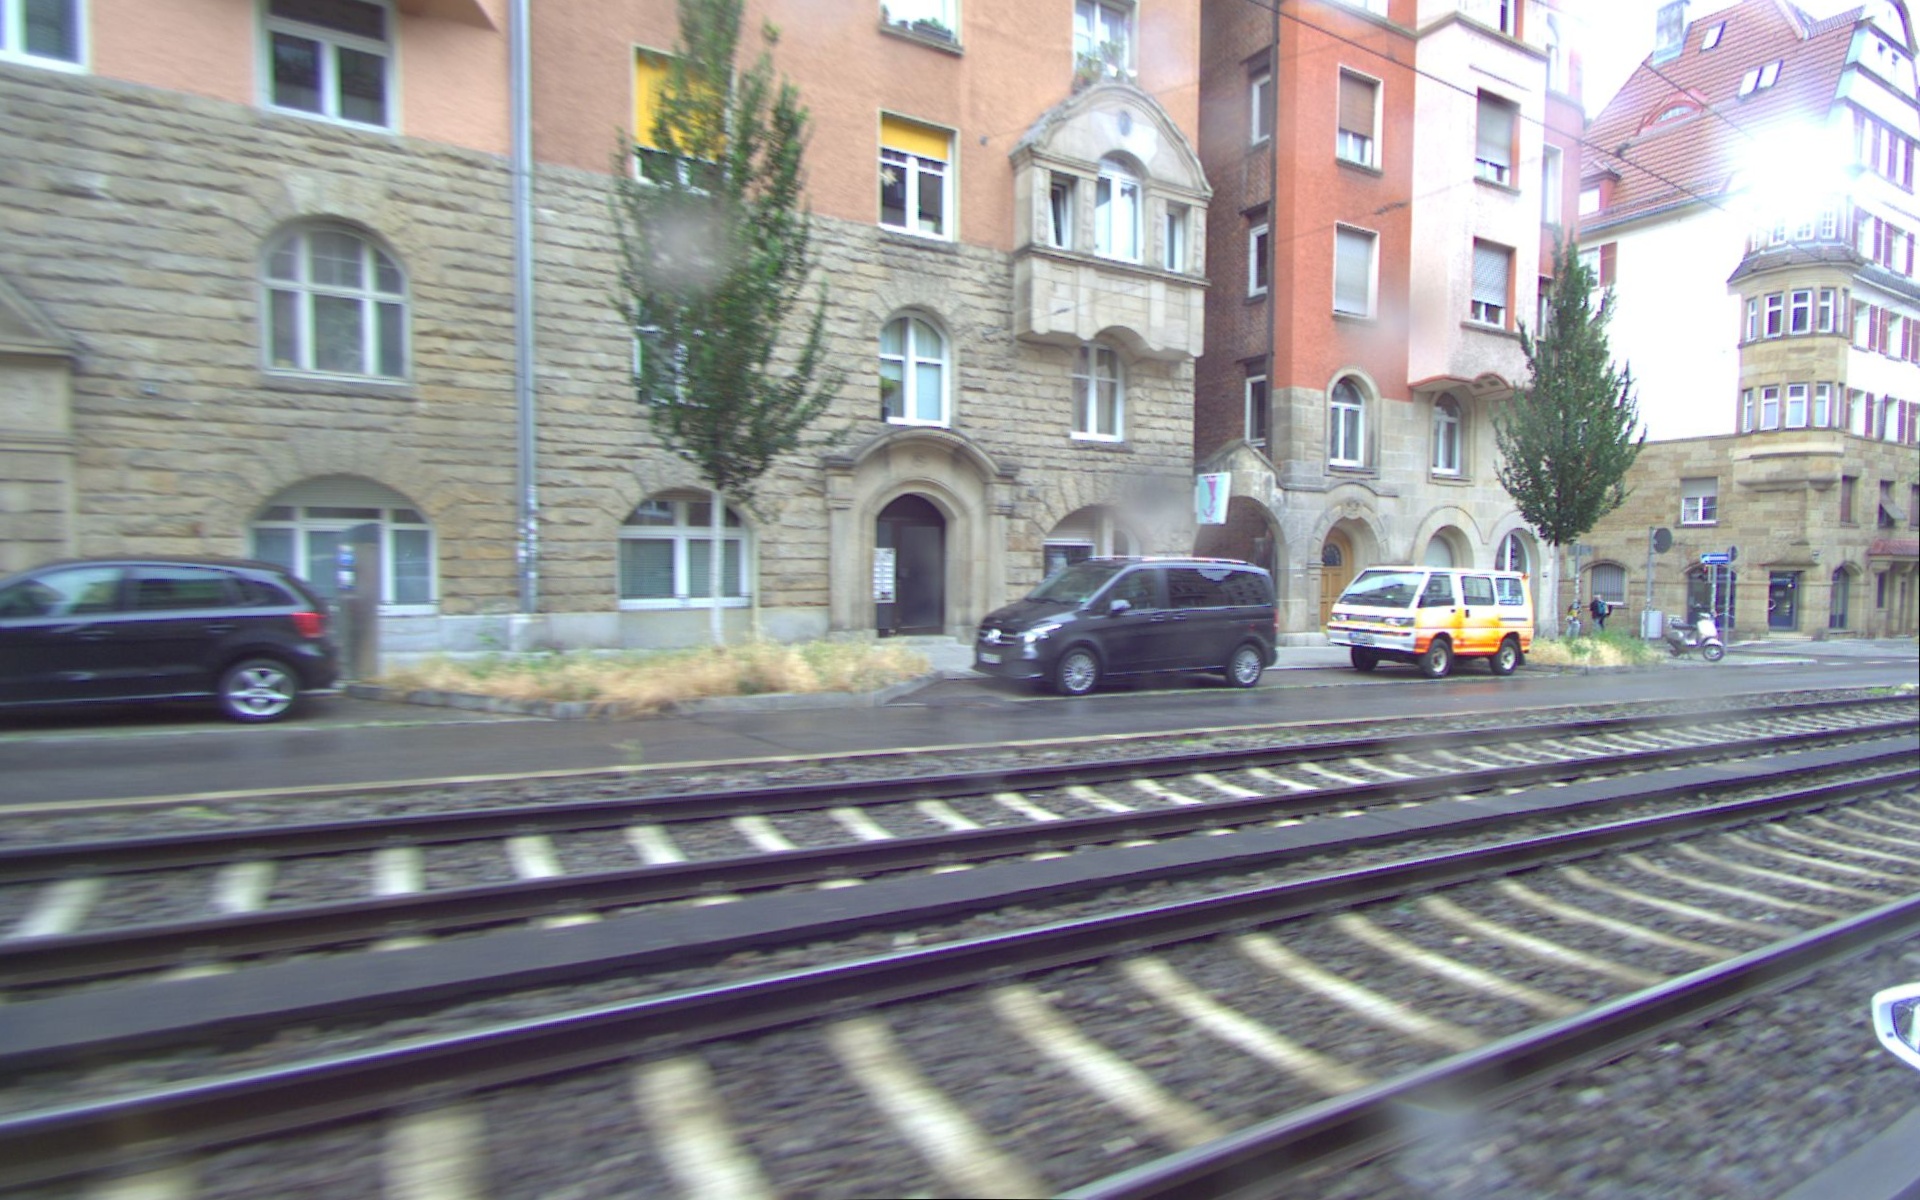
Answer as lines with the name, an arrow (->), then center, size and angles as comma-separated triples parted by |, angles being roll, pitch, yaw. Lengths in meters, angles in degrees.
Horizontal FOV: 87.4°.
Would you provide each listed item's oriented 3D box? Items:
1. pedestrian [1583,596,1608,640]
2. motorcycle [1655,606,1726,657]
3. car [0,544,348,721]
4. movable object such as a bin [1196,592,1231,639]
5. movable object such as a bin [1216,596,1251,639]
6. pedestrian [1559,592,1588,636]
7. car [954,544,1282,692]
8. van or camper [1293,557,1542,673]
pedestrian -> 26.021, 0.736, 41.133 | 0.634, 1.756, 0.604 | 1, 2, -29
motorcycle -> 17.739, 0.748, 24.432 | 0.608, 1.149, 1.441 | 2, 1, 0
car -> -7.733, 0.236, 8.966 | 3.842, 1.417, 1.632 | 1, 2, -33
movable object such as a bin -> 5.981, 0.371, 23.717 | 0.513, 1.075, 0.571 | 1, 2, -30
movable object such as a bin -> 6.327, 0.403, 23.232 | 0.513, 0.968, 0.571 | 1, 2, -30
pedestrian -> 24.918, 0.581, 40.796 | 0.854, 1.756, 0.604 | 1, 2, -29
car -> 2.416, 0.248, 15.067 | 4.643, 1.927, 1.984 | 1, 1, -30
van or camper -> 8.657, 0.259, 18.919 | 4.647, 1.927, 1.982 | 1, 2, -32
